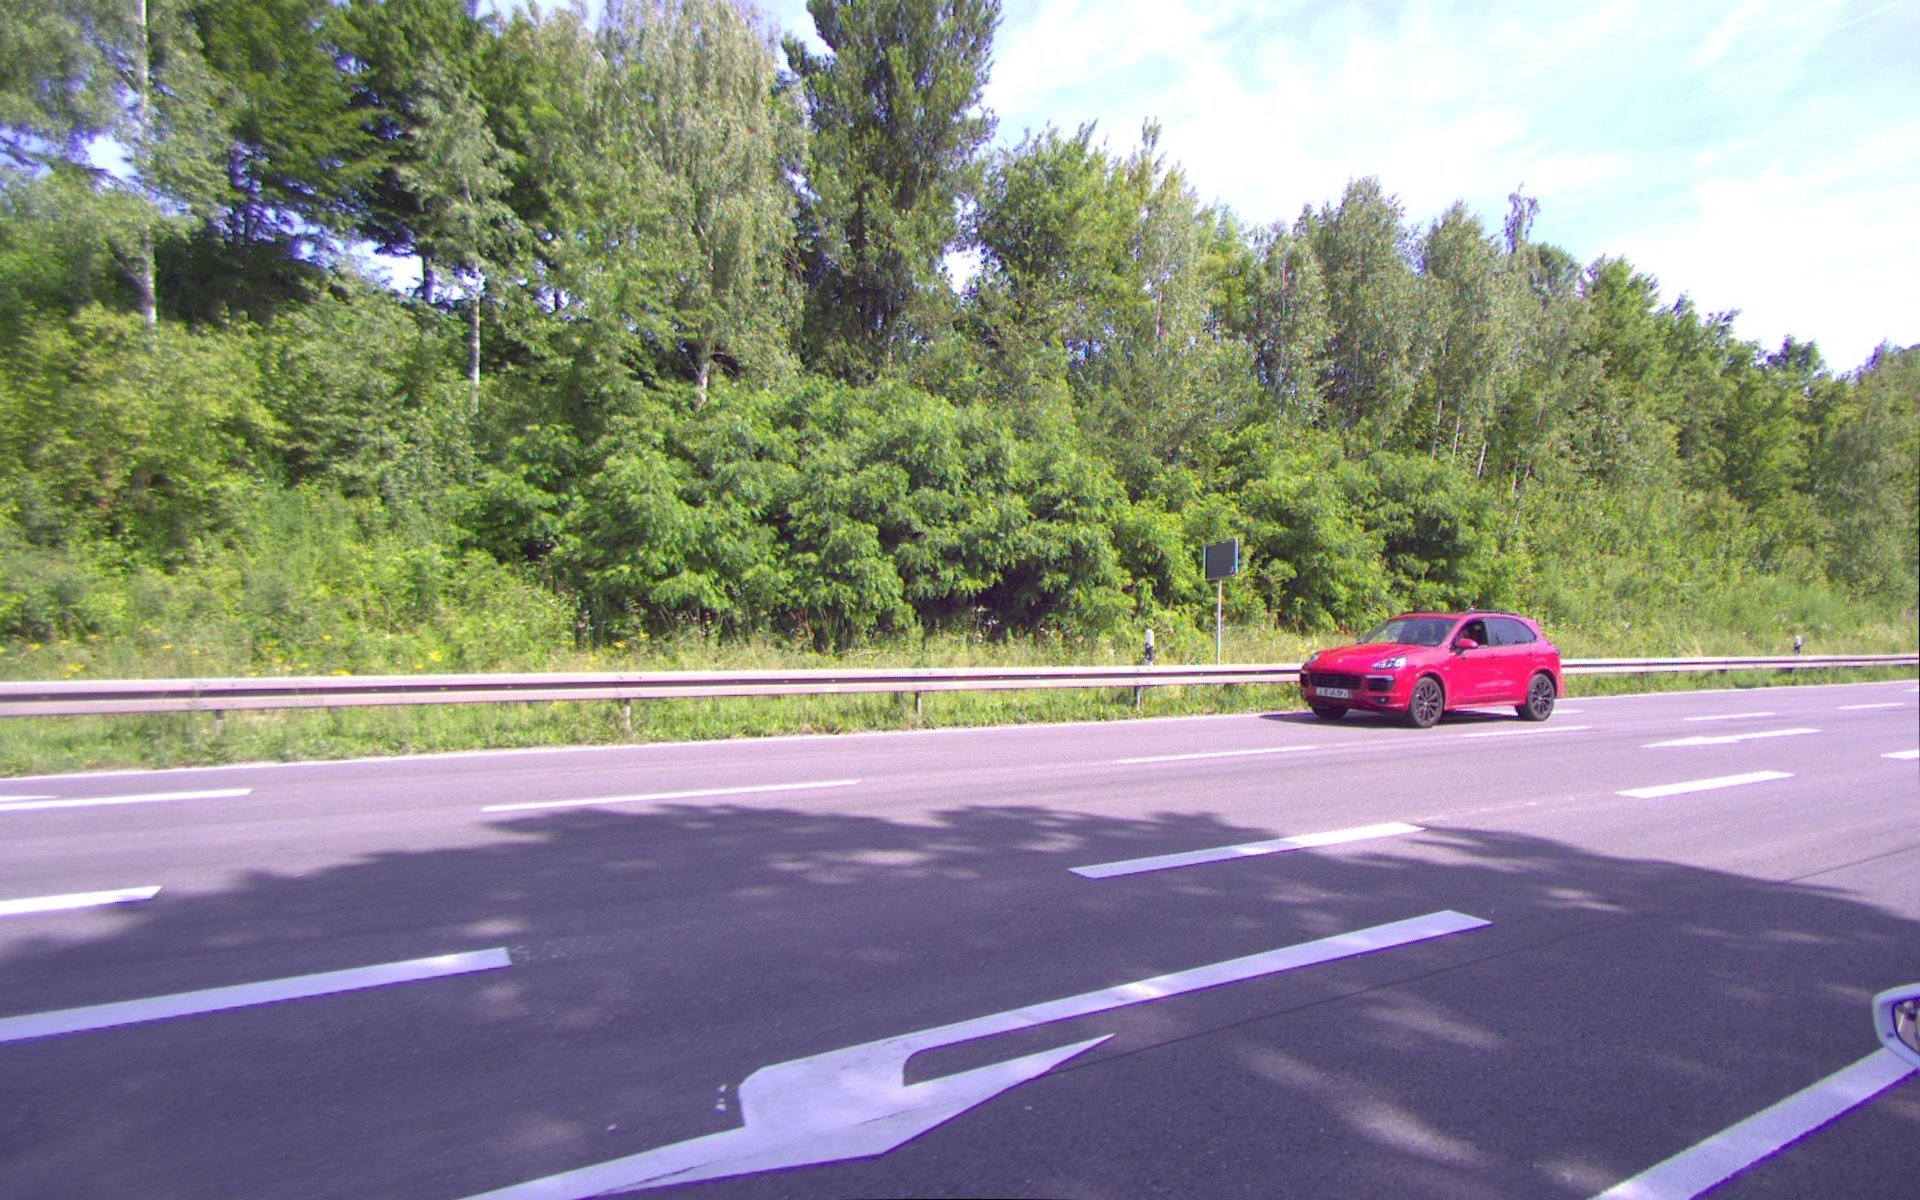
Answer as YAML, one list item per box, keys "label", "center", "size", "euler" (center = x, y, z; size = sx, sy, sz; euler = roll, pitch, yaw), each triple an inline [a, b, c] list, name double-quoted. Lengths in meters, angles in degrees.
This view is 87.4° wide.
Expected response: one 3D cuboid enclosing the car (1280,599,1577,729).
- label: "car"
  center: [7.564, 0.974, 16.102]
  size: [4.752, 1.820, 1.964]
  euler: [2, -1, -30]
